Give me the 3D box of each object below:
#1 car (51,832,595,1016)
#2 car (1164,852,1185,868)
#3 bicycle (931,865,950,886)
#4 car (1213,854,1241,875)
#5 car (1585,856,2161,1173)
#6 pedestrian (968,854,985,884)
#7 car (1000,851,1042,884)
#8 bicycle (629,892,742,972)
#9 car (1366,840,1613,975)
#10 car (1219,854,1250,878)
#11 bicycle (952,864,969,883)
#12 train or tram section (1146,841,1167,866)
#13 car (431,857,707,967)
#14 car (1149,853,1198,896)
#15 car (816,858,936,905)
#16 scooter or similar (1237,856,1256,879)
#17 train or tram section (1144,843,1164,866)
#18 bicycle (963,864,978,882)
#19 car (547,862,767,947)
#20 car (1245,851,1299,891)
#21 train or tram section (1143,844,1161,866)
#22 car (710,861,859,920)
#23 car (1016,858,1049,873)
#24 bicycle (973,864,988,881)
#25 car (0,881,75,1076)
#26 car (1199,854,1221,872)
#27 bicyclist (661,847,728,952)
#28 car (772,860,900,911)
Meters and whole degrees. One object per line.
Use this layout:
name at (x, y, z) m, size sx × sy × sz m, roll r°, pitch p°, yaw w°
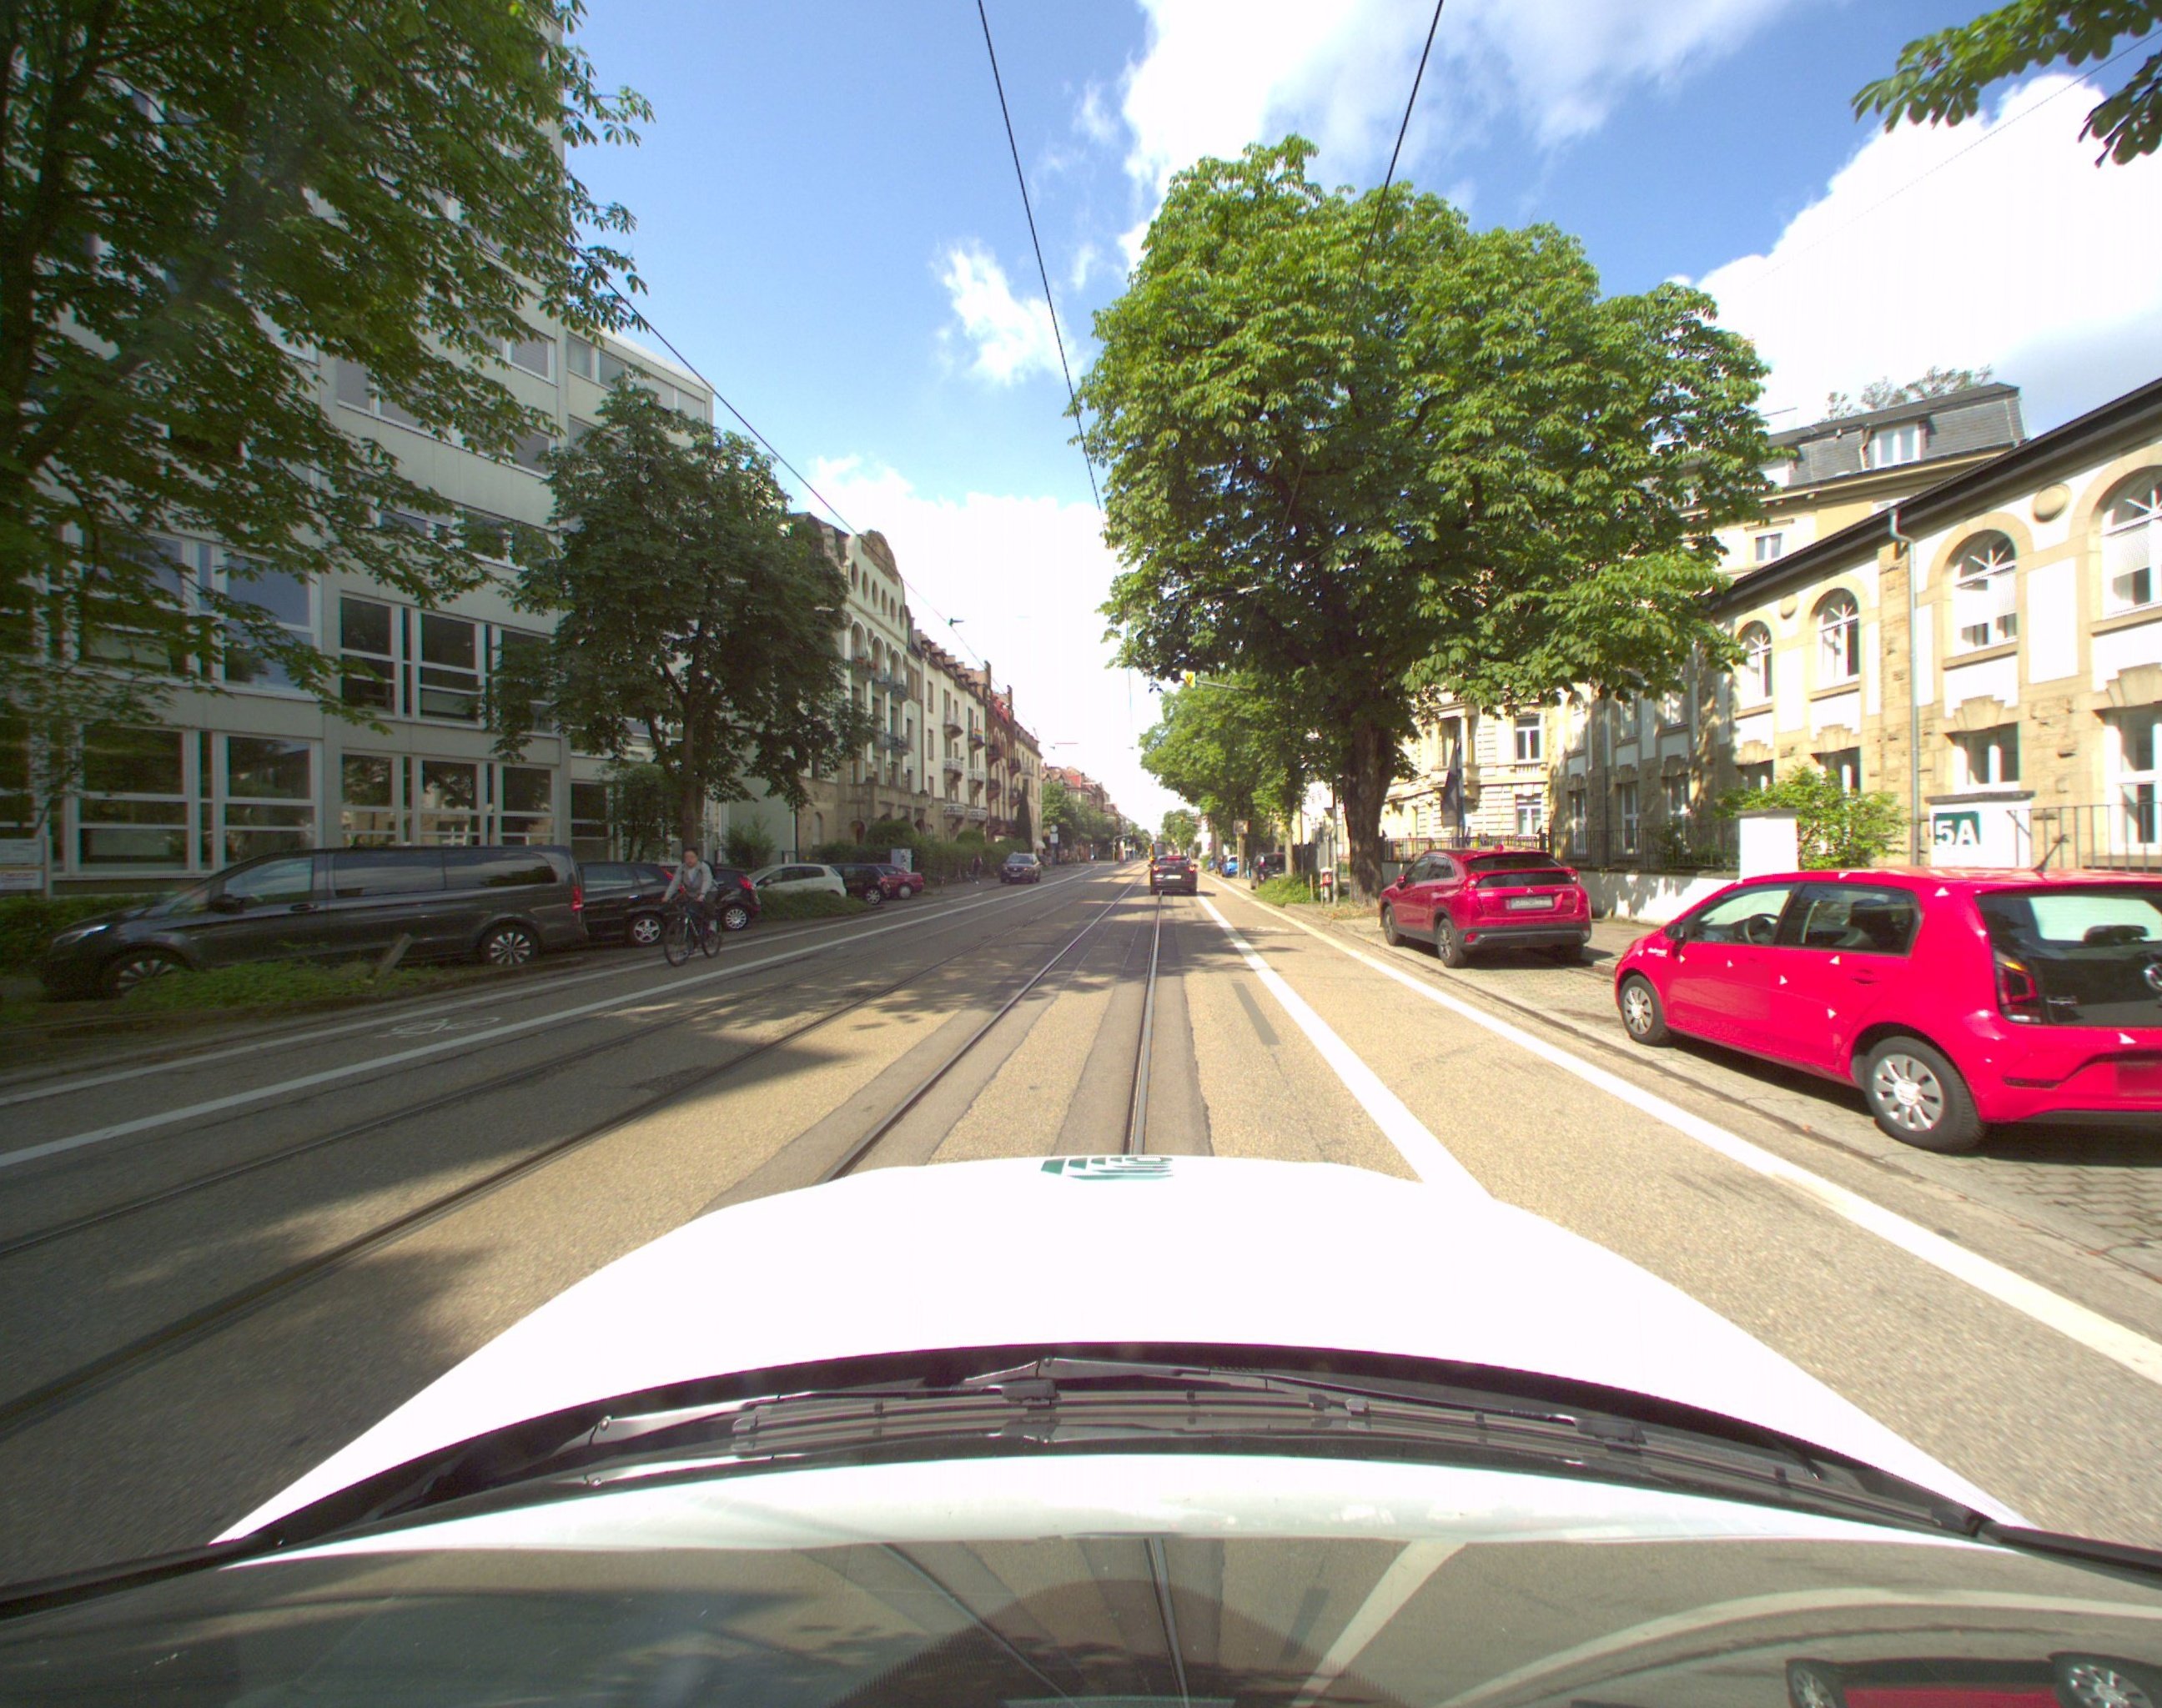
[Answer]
car at (-10.023, 0.764, 11.445) m, size 5.196 × 1.954 × 1.894 m, roll -3°, pitch 0°, yaw -41°
car at (9.118, 0.542, 79.828) m, size 1.777 × 1.492 × 4.887 m, roll -1°, pitch 0°, yaw 3°
bicycle at (-6.927, 1.068, 40.281) m, size 0.381 × 0.959 × 1.814 m, roll 1°, pitch 0°, yaw 8°
car at (11.173, 0.794, 62.476) m, size 1.632 × 1.496 × 3.762 m, roll -2°, pitch 0°, yaw 4°
car at (5.278, 0.768, 5.593) m, size 1.592 × 1.428 × 3.601 m, roll -3°, pitch -1°, yaw 5°
pedestrian at (-5.570, 0.782, 43.532) m, size 0.676 × 1.568 × 0.884 m, roll 1°, pitch 0°, yaw 8°
car at (-3.388, 0.721, 47.056) m, size 1.777 × 1.762 × 4.887 m, roll -1°, pitch 0°, yaw 3°
bicycle at (-6.048, 1.156, 12.587) m, size 0.652 × 1.040 × 2.002 m, roll -1°, pitch -1°, yaw 4°
car at (6.013, 0.691, 12.650) m, size 1.868 × 1.676 × 4.286 m, roll -2°, pitch 0°, yaw 4°
car at (10.243, 0.754, 54.543) m, size 1.632 × 1.496 × 3.631 m, roll -2°, pitch 0°, yaw 4°
bicycle at (-6.466, 1.055, 43.813) m, size 0.381 × 0.959 × 1.814 m, roll 1°, pitch 0°, yaw 8°
train or tram section at (11.108, -0.001, 120.884) m, size 2.641 × 3.528 × 8.502 m, roll -1°, pitch -1°, yaw 3°
car at (-9.214, 0.949, 14.816) m, size 4.020 × 1.593 × 1.721 m, roll -3°, pitch 0°, yaw -39°
car at (3.608, 0.758, 32.287) m, size 1.781 × 1.512 × 4.356 m, roll 0°, pitch 1°, yaw 5°
car at (-7.771, 1.016, 30.990) m, size 3.989 × 1.484 × 1.825 m, roll -3°, pitch 0°, yaw -38°
scooter or similar at (9.675, 0.772, 47.681) m, size 0.443 × 1.299 × 1.172 m, roll -4°, pitch 1°, yaw -25°
train or tram section at (11.530, 0.068, 129.367) m, size 2.641 × 3.528 × 8.502 m, roll -1°, pitch -1°, yaw 3°
bicycle at (-6.228, 1.034, 45.895) m, size 0.381 × 0.959 × 1.814 m, roll 1°, pitch 0°, yaw 8°
car at (-9.218, 1.026, 17.844) m, size 4.019 × 1.484 × 1.721 m, roll -3°, pitch 0°, yaw -37°
car at (8.358, 0.708, 35.936) m, size 1.689 × 1.591 × 4.208 m, roll -2°, pitch -1°, yaw 5°
train or tram section at (11.957, 0.137, 137.851) m, size 2.641 × 3.528 × 8.502 m, roll -1°, pitch -1°, yaw 3°
car at (-8.898, 1.052, 24.570) m, size 3.827 × 1.484 × 1.678 m, roll -3°, pitch 0°, yaw -40°
car at (-5.279, 1.243, 88.506) m, size 3.217 × 1.513 × 1.683 m, roll 1°, pitch 0°, yaw 9°
bicycle at (-5.925, 1.067, 48.018) m, size 0.381 × 0.959 × 1.925 m, roll 1°, pitch 0°, yaw 8°
car at (-9.945, 1.008, 5.272) m, size 4.021 × 1.417 × 1.739 m, roll -3°, pitch 0°, yaw -41°
car at (11.498, 0.820, 72.789) m, size 1.616 × 1.496 × 3.854 m, roll -3°, pitch 0°, yaw 6°
bicyclist at (-6.026, 0.696, 12.719) m, size 0.638 × 1.577 × 0.742 m, roll -1°, pitch -1°, yaw 3°
car at (-8.354, 1.037, 27.867) m, size 3.823 × 1.484 × 1.680 m, roll -3°, pitch 0°, yaw -34°
